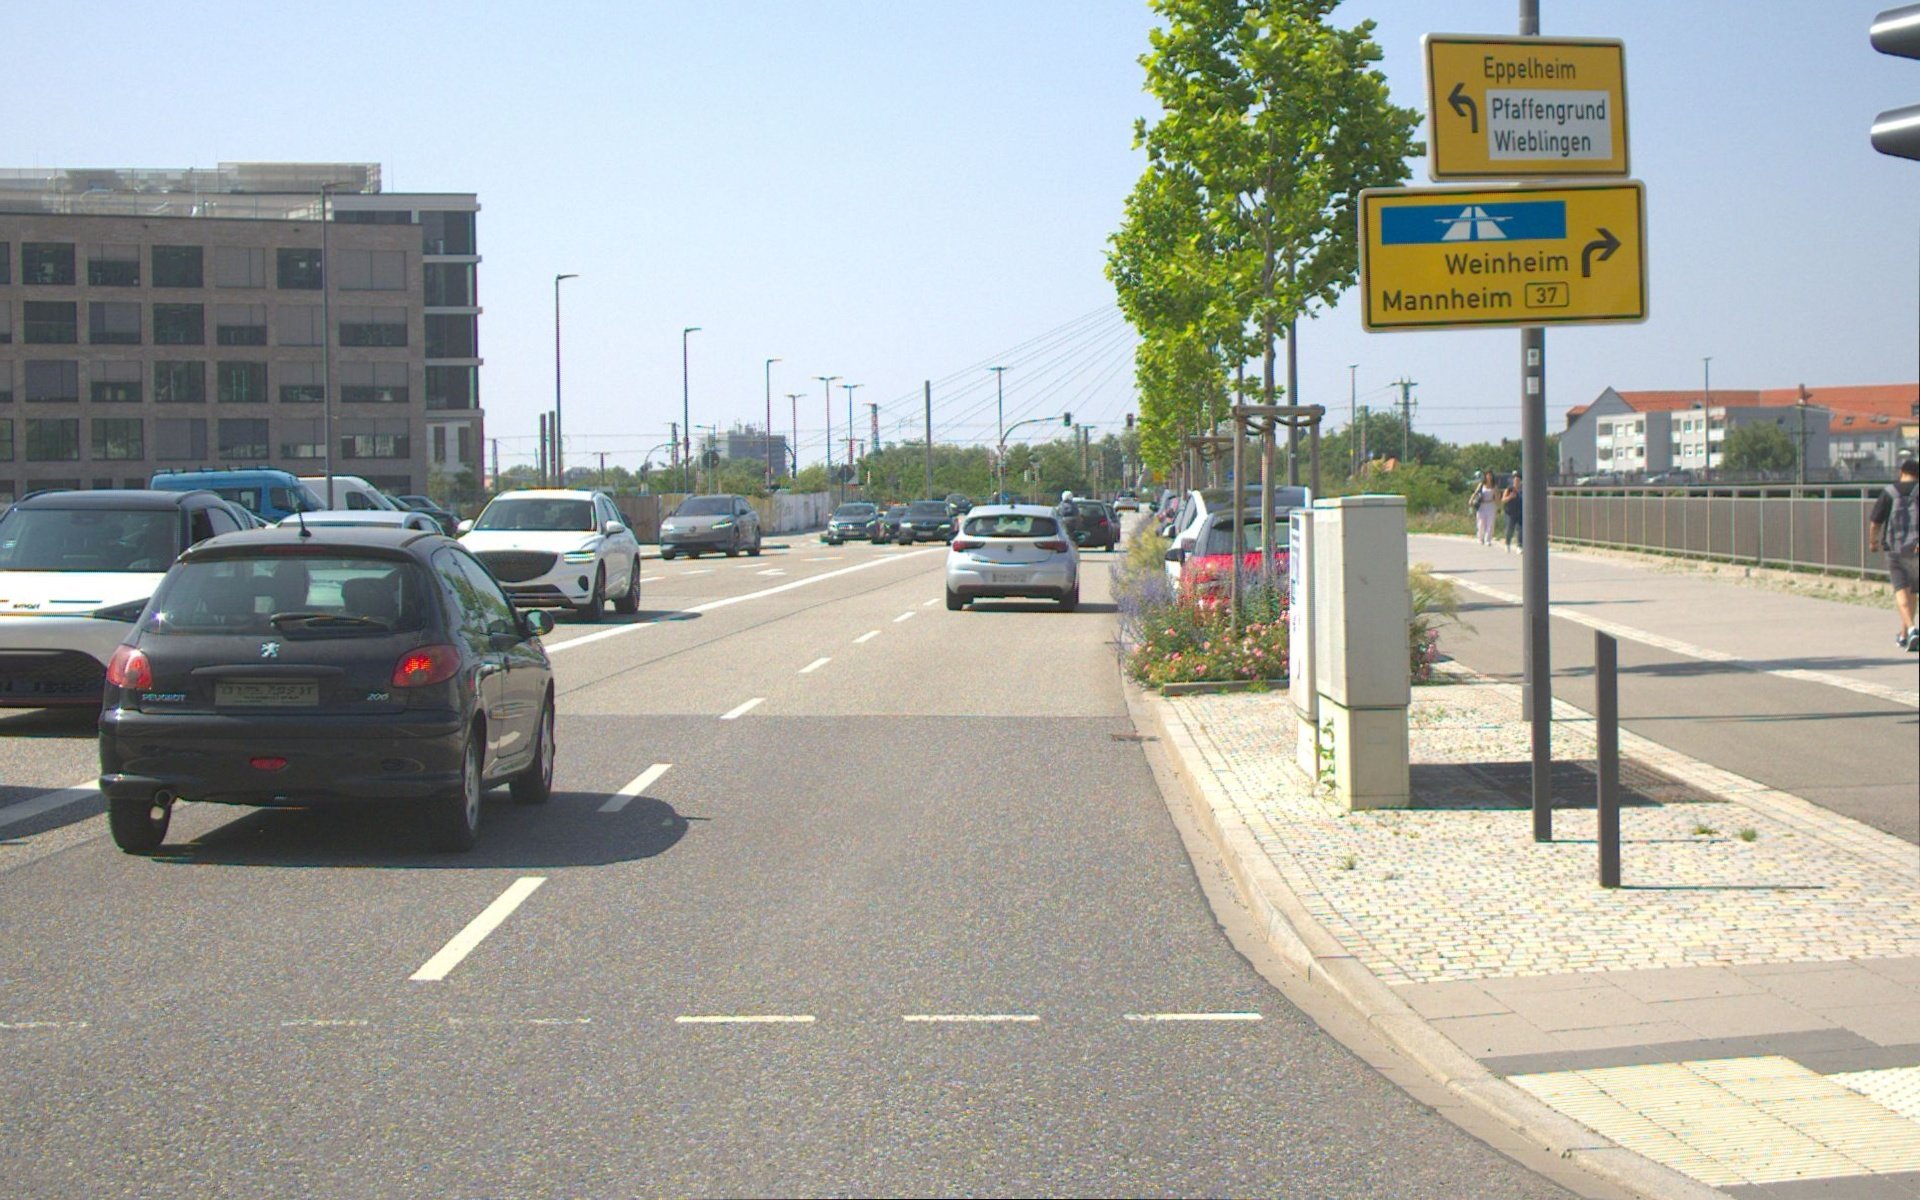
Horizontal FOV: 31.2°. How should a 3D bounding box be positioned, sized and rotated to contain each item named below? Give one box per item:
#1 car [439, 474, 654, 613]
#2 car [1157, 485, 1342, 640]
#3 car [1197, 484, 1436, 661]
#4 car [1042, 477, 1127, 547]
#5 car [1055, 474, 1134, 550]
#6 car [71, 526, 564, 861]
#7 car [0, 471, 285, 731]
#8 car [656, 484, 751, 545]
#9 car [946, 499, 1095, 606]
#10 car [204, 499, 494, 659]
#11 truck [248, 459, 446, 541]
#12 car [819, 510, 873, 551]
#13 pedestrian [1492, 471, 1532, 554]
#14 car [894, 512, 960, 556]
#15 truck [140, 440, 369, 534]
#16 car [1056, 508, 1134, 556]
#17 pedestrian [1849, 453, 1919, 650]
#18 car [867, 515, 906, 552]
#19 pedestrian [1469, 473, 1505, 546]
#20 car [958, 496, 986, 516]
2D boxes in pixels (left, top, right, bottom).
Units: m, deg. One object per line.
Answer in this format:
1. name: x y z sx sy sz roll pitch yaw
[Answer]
1. car: -5.235 -0.757 44.139 1.913 1.644 4.730 2 2 3
2. car: 3.197 -0.451 38.765 1.872 1.621 4.876 0 1 2
3. car: 3.228 -0.305 31.815 1.994 1.513 4.000 0 2 3
4. car: 2.958 -2.046 81.037 1.778 1.563 3.999 1 1 5
5. car: 3.205 -2.070 81.355 1.793 1.744 4.000 0 1 4
6. car: -2.944 0.358 16.455 1.619 1.411 3.727 0 1 1
7. car: -6.109 -0.071 24.384 1.778 1.676 4.099 0 2 1
8. car: -6.322 -2.102 85.121 1.894 1.410 3.598 1 1 3
9. car: 0.892 -0.684 48.529 1.778 1.437 3.999 0 1 6
10. car: -5.748 -0.230 32.843 1.786 1.416 4.282 0 1 3
11. truck: -18.764 -3.071 105.355 5.567 2.354 2.275 -1 2 2
12. car: -4.038 -2.457 122.366 1.793 1.411 4.000 1 1 -1
13. pedestrian: 11.504 -1.823 71.658 0.732 1.699 0.651 1 0 4
14. car: -1.058 -2.184 113.527 1.787 1.393 4.571 0 2 4
15. truck: -20.096 -3.229 98.136 6.004 2.534 2.275 -1 2 1
16. car: 3.706 -1.884 94.980 1.632 1.305 4.001 0 1 -5
17. pedestrian: 7.978 -0.423 28.846 0.750 1.603 0.949 -3 2 3
18. car: -3.121 -2.825 146.474 1.579 1.557 3.674 1 1 -1
19. pedestrian: 12.370 -2.115 80.706 0.781 1.699 0.742 0 1 4
20. car: 0.865 -6.557 239.753 1.704 1.347 4.456 -1 1 3
